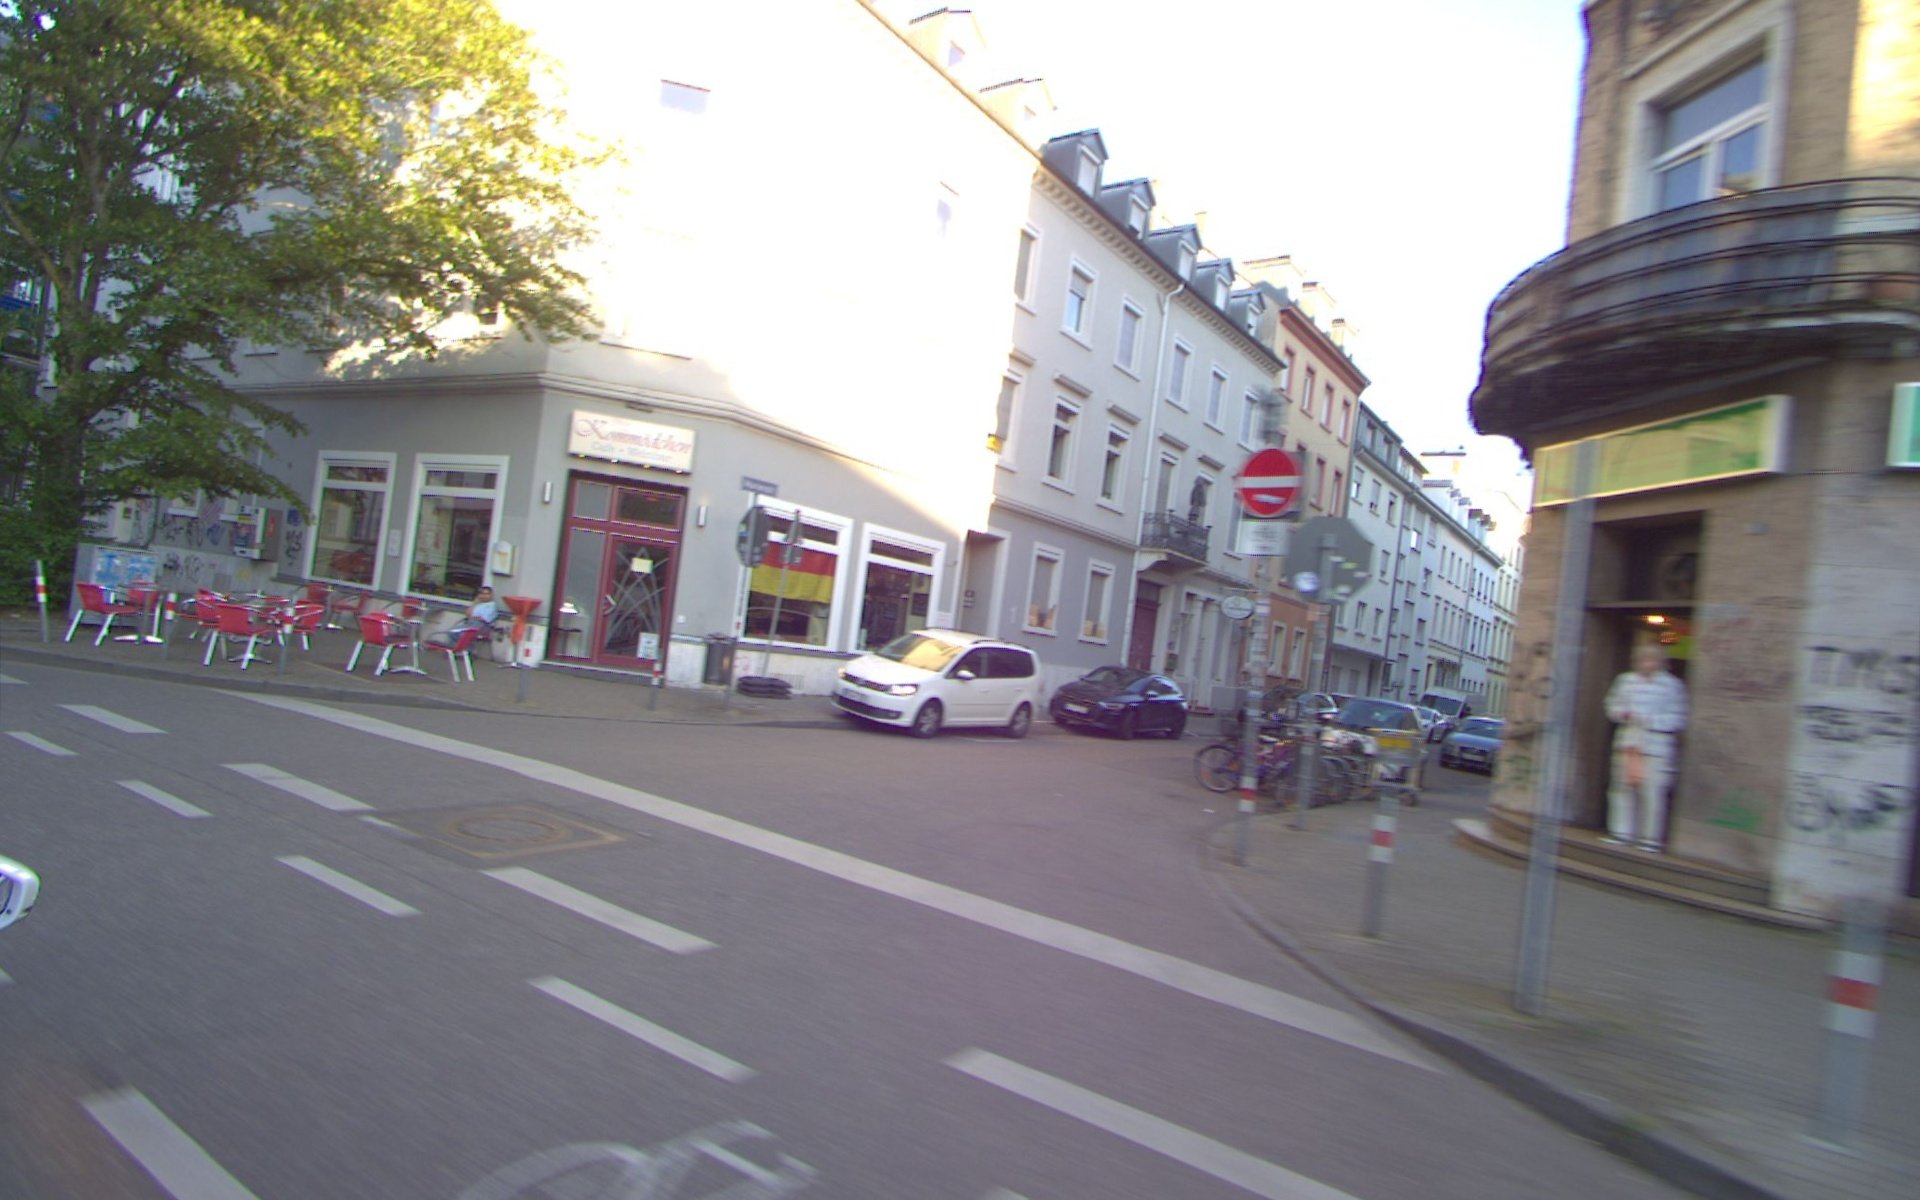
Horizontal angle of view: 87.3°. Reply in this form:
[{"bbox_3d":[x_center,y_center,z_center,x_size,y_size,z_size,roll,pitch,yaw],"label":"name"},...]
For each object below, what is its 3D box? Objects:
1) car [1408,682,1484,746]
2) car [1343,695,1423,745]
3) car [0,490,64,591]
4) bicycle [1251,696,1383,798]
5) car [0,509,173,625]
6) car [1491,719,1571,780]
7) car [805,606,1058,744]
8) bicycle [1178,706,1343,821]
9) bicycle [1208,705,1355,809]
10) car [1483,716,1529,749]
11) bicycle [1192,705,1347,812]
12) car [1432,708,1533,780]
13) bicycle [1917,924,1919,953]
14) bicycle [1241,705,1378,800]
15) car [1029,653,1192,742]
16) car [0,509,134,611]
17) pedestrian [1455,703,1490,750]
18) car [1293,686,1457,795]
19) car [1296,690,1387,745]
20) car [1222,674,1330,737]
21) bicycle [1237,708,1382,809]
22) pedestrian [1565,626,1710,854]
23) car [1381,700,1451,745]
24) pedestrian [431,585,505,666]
[{"bbox_3d":[23.428,5.505,48.369,2.343,2.620,5.027,6,-3,35],"label":"car"},{"bbox_3d":[16.139,4.590,38.283,1.879,1.593,4.054,2,-6,36],"label":"car"},{"bbox_3d":[-19.134,-1.288,18.181,1.789,1.838,4.003,7,-1,10],"label":"car"},{"bbox_3d":[5.903,2.401,16.656,1.854,1.296,0.510,9,0,25],"label":"bicycle"},{"bbox_3d":[-14.592,-0.596,15.132,1.745,1.558,4.006,7,-2,12],"label":"car"},{"bbox_3d":[18.301,4.758,32.178,1.637,1.518,3.571,9,-1,37],"label":"car"},{"bbox_3d":[-0.343,1.362,17.195,1.878,1.861,4.327,6,-3,37],"label":"car"},{"bbox_3d":[3.978,2.130,13.373,1.856,1.112,0.659,9,-1,32],"label":"bicycle"},{"bbox_3d":[4.680,2.264,14.705,1.856,1.112,0.509,9,0,32],"label":"bicycle"},{"bbox_3d":[33.396,8.097,61.480,1.879,1.741,4.054,2,-6,36],"label":"car"},{"bbox_3d":[4.356,2.203,14.212,1.856,1.112,0.609,9,0,32],"label":"bicycle"},{"bbox_3d":[13.761,3.753,26.402,1.637,1.460,3.666,9,-1,37],"label":"car"},{"bbox_3d":[7.165,1.843,6.272,1.559,1.224,0.524,6,-2,32],"label":"bicycle"},{"bbox_3d":[5.518,2.393,15.938,1.856,1.112,0.538,9,0,32],"label":"bicycle"},{"bbox_3d":[3.393,2.179,21.993,1.878,1.593,4.056,2,-6,34],"label":"car"},{"bbox_3d":[-16.856,-0.821,17.157,1.687,1.584,4.006,7,-2,10],"label":"car"},{"bbox_3d":[21.416,5.300,42.045,0.971,1.787,1.207,6,-2,35],"label":"pedestrian"},{"bbox_3d":[7.899,2.617,18.921,1.755,1.535,4.052,8,-1,37],"label":"car"},{"bbox_3d":[13.194,4.083,34.694,1.879,1.593,4.054,2,-6,36],"label":"car"},{"bbox_3d":[9.632,3.218,30.450,1.879,1.593,4.054,2,-6,36],"label":"car"},{"bbox_3d":[5.230,2.343,15.103,1.856,1.112,0.509,9,0,32],"label":"bicycle"},{"bbox_3d":[5.896,1.202,8.781,0.553,1.855,0.609,8,1,-22],"label":"pedestrian"},{"bbox_3d":[19.456,5.236,42.825,1.879,1.593,4.054,2,-6,36],"label":"car"},{"bbox_3d":[-7.731,0.410,15.829,0.678,1.168,0.652,7,-1,8],"label":"pedestrian"}]
